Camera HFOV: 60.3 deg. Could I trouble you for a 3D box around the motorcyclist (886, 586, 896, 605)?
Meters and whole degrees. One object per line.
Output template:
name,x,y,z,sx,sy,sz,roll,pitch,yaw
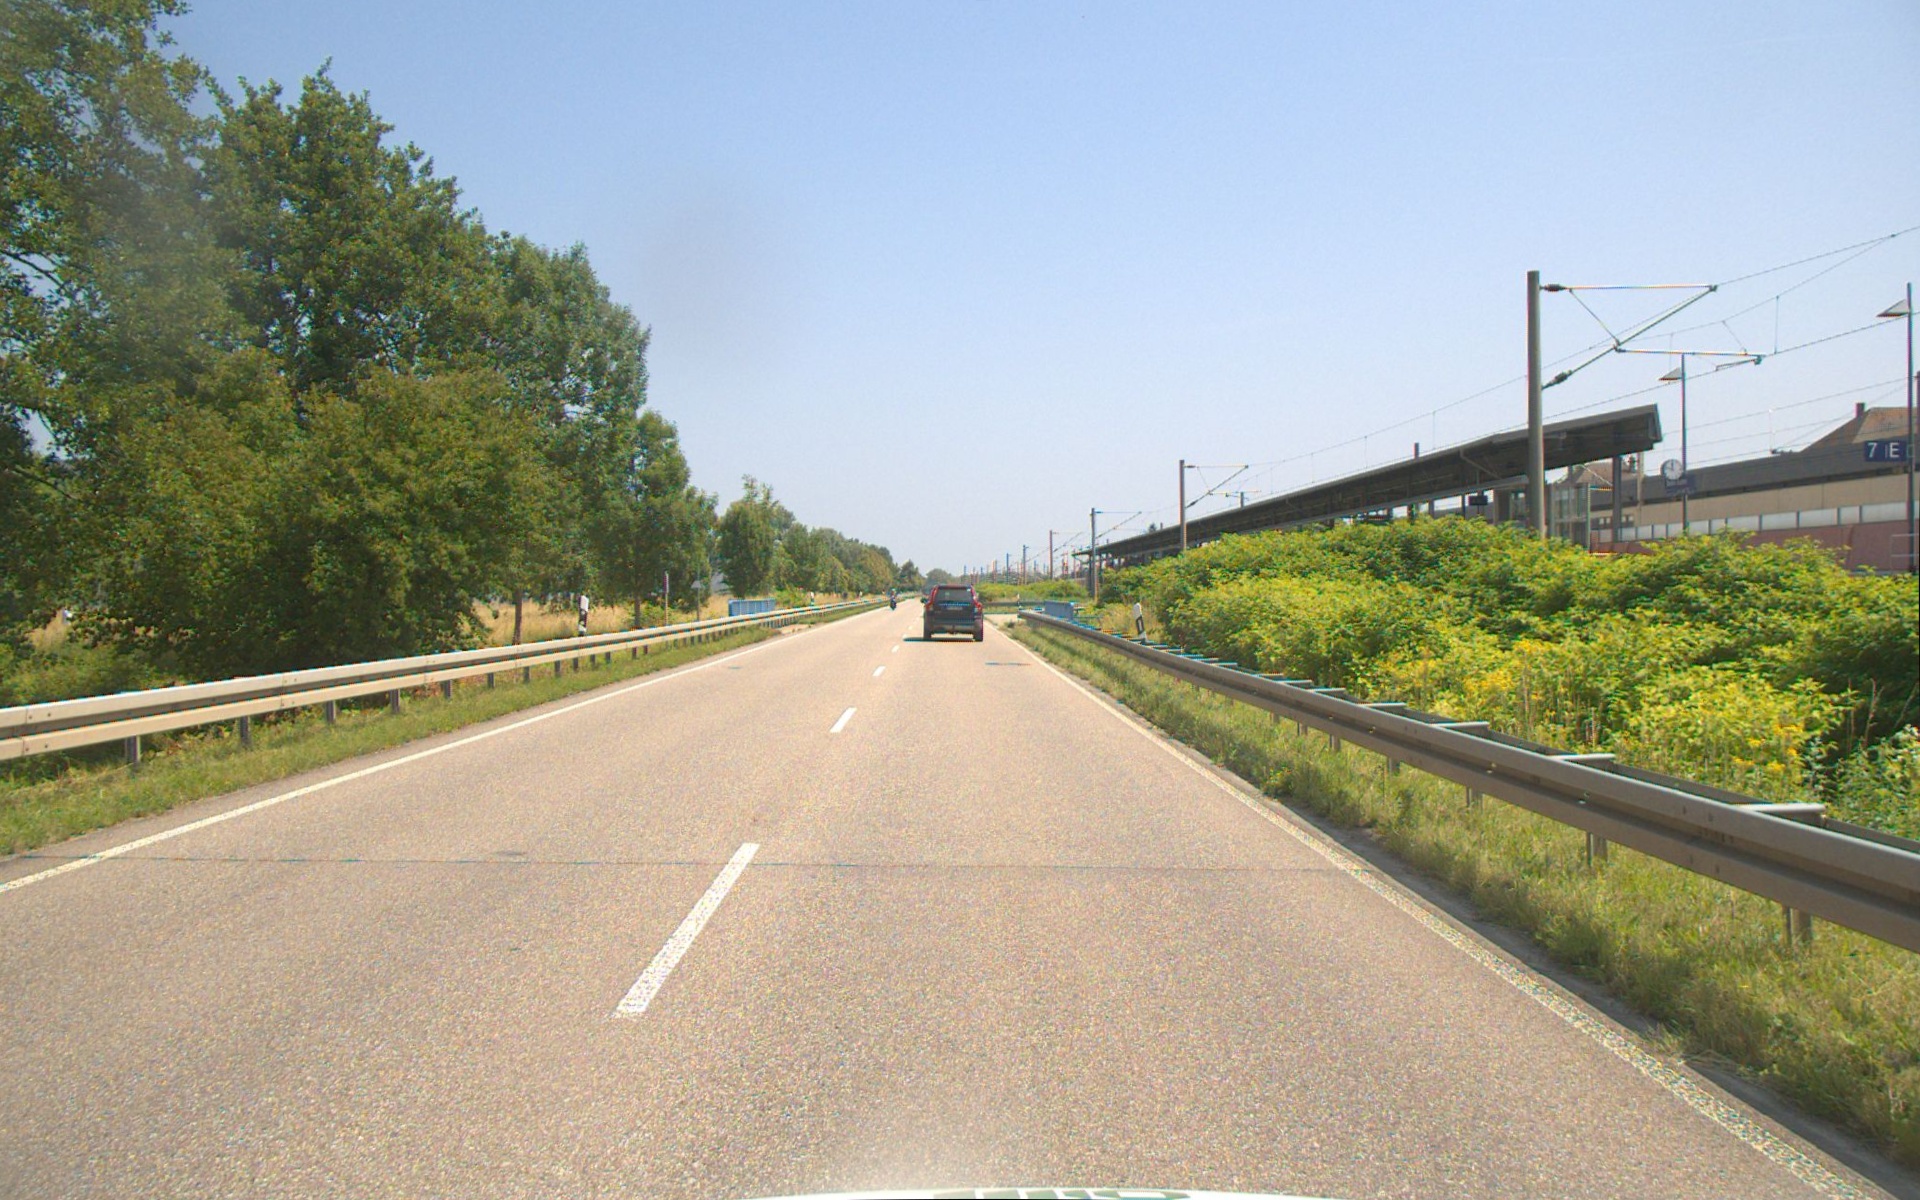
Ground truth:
motorcyclist,-5.437,-0.336,130.282,0.711,1.490,0.987,0,0,2

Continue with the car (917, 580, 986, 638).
car,-0.303,0.268,51.625,1.954,1.730,3.998,0,0,-3

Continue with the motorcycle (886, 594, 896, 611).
motorcycle,-5.435,0.189,130.266,0.674,1.256,2.370,1,0,2
